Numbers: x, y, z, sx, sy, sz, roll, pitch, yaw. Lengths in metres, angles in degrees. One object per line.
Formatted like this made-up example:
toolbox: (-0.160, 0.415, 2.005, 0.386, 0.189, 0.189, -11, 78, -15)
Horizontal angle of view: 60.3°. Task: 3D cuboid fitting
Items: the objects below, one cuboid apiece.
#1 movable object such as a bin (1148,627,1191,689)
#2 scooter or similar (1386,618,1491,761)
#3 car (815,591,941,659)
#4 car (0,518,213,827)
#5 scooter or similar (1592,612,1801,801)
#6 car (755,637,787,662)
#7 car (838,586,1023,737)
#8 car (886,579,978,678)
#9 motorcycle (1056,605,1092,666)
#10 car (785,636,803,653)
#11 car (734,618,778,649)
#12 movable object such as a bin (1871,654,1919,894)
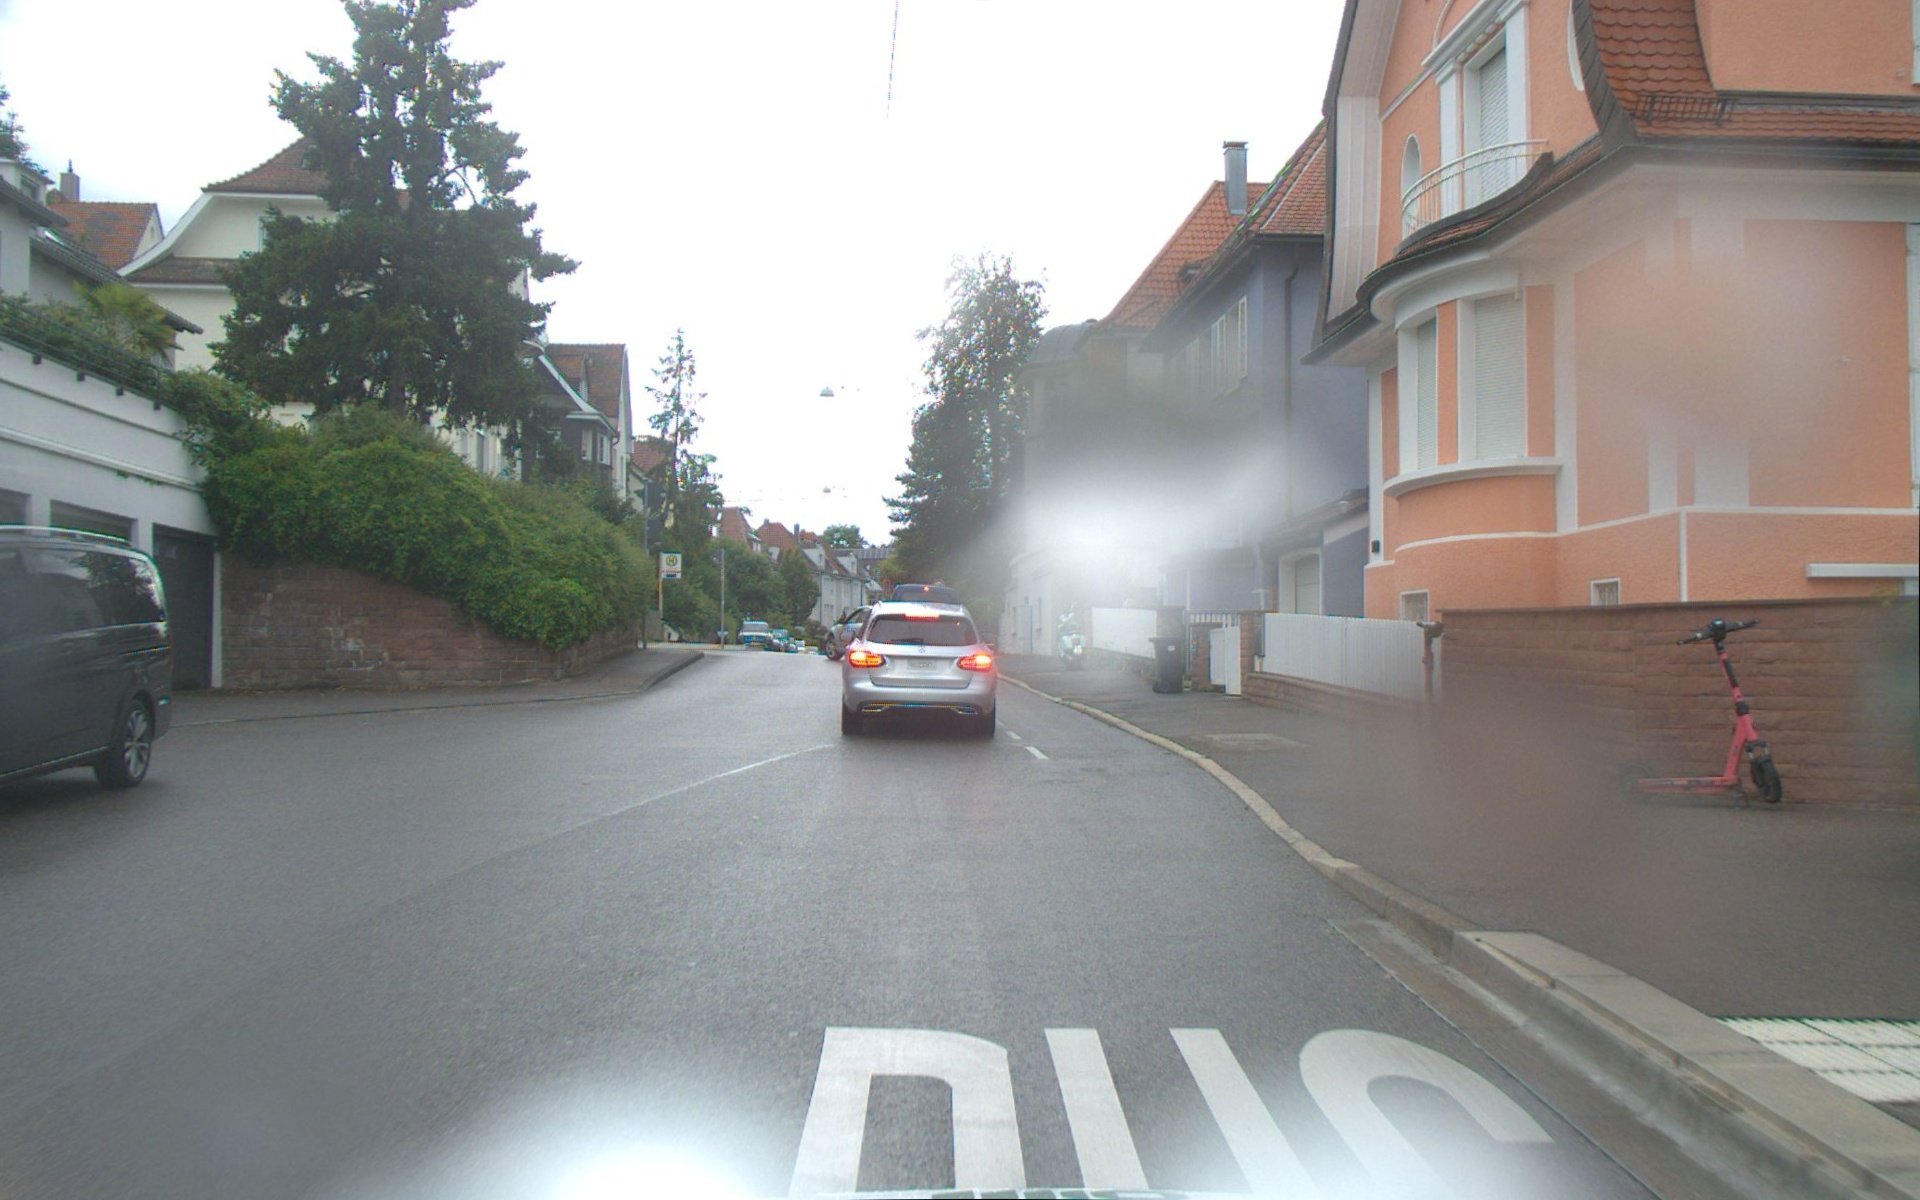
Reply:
movable object such as a bin: (3.421, 0.937, 27.010, 0.538, 0.952, 0.633, -3, 0, -4)
scooter or similar: (4.397, 0.797, 15.263, 0.678, 1.245, 1.300, 0, 0, 4)
car: (-2.108, 0.585, 41.302, 1.964, 1.566, 4.307, 1, 0, -20)
car: (-7.053, 0.427, 11.156, 2.089, 1.892, 5.584, 1, 0, -7)
scooter or similar: (5.139, 0.730, 11.544, 1.234, 1.245, 0.694, -3, -1, 29)
car: (-11.319, 2.964, 99.150, 1.723, 1.337, 3.680, 2, 0, -5)
car: (-0.399, 0.660, 19.834, 1.943, 1.581, 4.296, 1, 0, -2)
car: (-0.588, 0.544, 34.479, 1.787, 1.915, 4.094, -1, 0, -1)
motorcycle: (2.523, 0.775, 36.685, 0.570, 1.283, 2.331, -2, 0, -1)
car: (-14.101, 3.744, 140.494, 1.400, 1.337, 3.403, -1, 0, -5)
car: (-10.419, 1.707, 84.612, 2.075, 1.497, 4.013, 0, 0, -5)
movable object such as a bin: (4.598, 0.769, 7.286, 0.697, 1.048, 0.756, -2, 0, -5)
